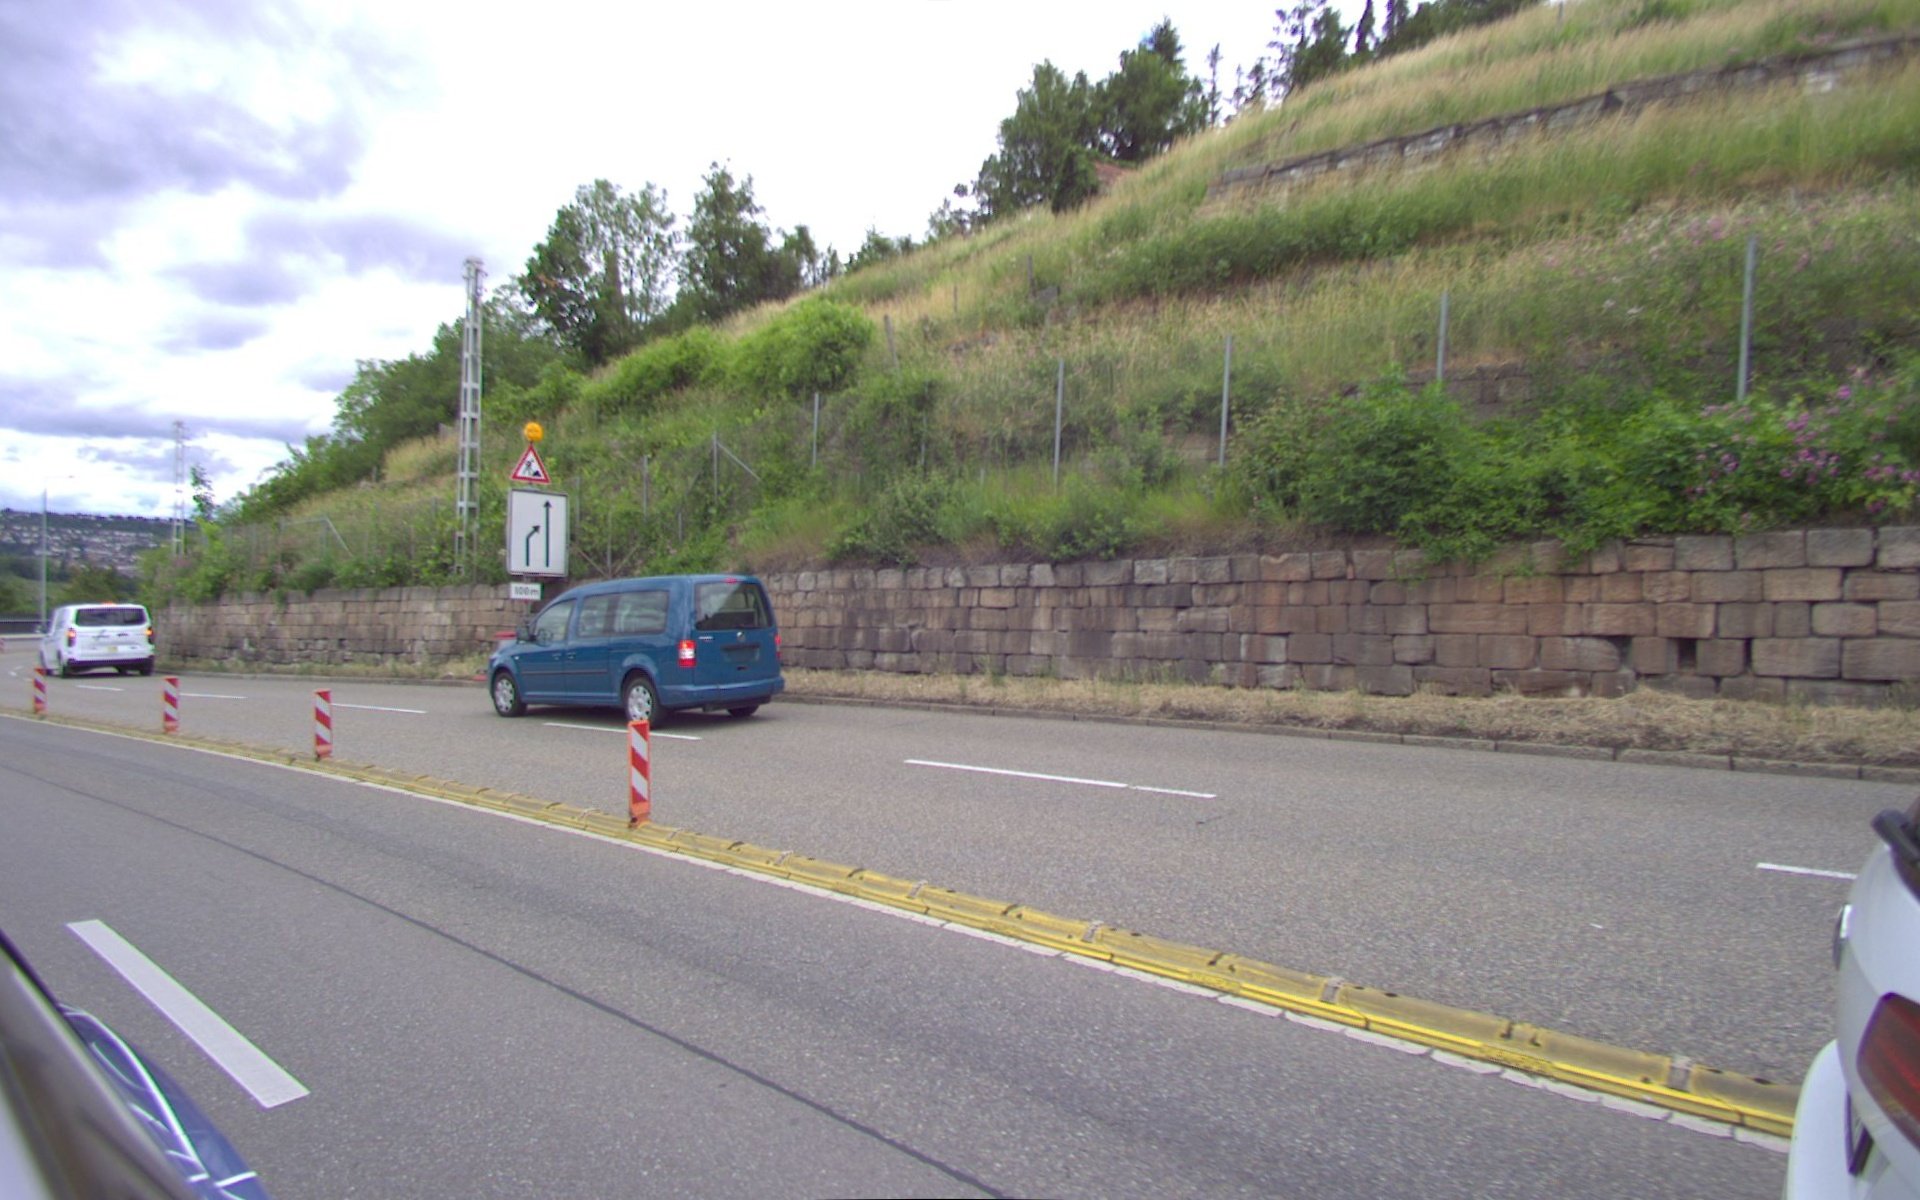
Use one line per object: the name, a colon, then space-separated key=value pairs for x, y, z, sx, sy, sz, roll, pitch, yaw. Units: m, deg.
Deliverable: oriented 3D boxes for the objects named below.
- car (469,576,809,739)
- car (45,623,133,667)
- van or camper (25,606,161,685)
car: x=-4.348 y=0.673 z=13.350 sx=4.725 sy=1.795 sz=1.834 roll=-2 pitch=0 yaw=37
car: x=-34.360 y=1.776 z=40.037 sx=1.838 sy=1.636 sz=4.361 roll=1 pitch=-3 yaw=-30
van or camper: x=-24.454 y=1.274 z=28.488 sx=4.959 sy=2.032 sz=2.126 roll=-3 pitch=-2 yaw=40
